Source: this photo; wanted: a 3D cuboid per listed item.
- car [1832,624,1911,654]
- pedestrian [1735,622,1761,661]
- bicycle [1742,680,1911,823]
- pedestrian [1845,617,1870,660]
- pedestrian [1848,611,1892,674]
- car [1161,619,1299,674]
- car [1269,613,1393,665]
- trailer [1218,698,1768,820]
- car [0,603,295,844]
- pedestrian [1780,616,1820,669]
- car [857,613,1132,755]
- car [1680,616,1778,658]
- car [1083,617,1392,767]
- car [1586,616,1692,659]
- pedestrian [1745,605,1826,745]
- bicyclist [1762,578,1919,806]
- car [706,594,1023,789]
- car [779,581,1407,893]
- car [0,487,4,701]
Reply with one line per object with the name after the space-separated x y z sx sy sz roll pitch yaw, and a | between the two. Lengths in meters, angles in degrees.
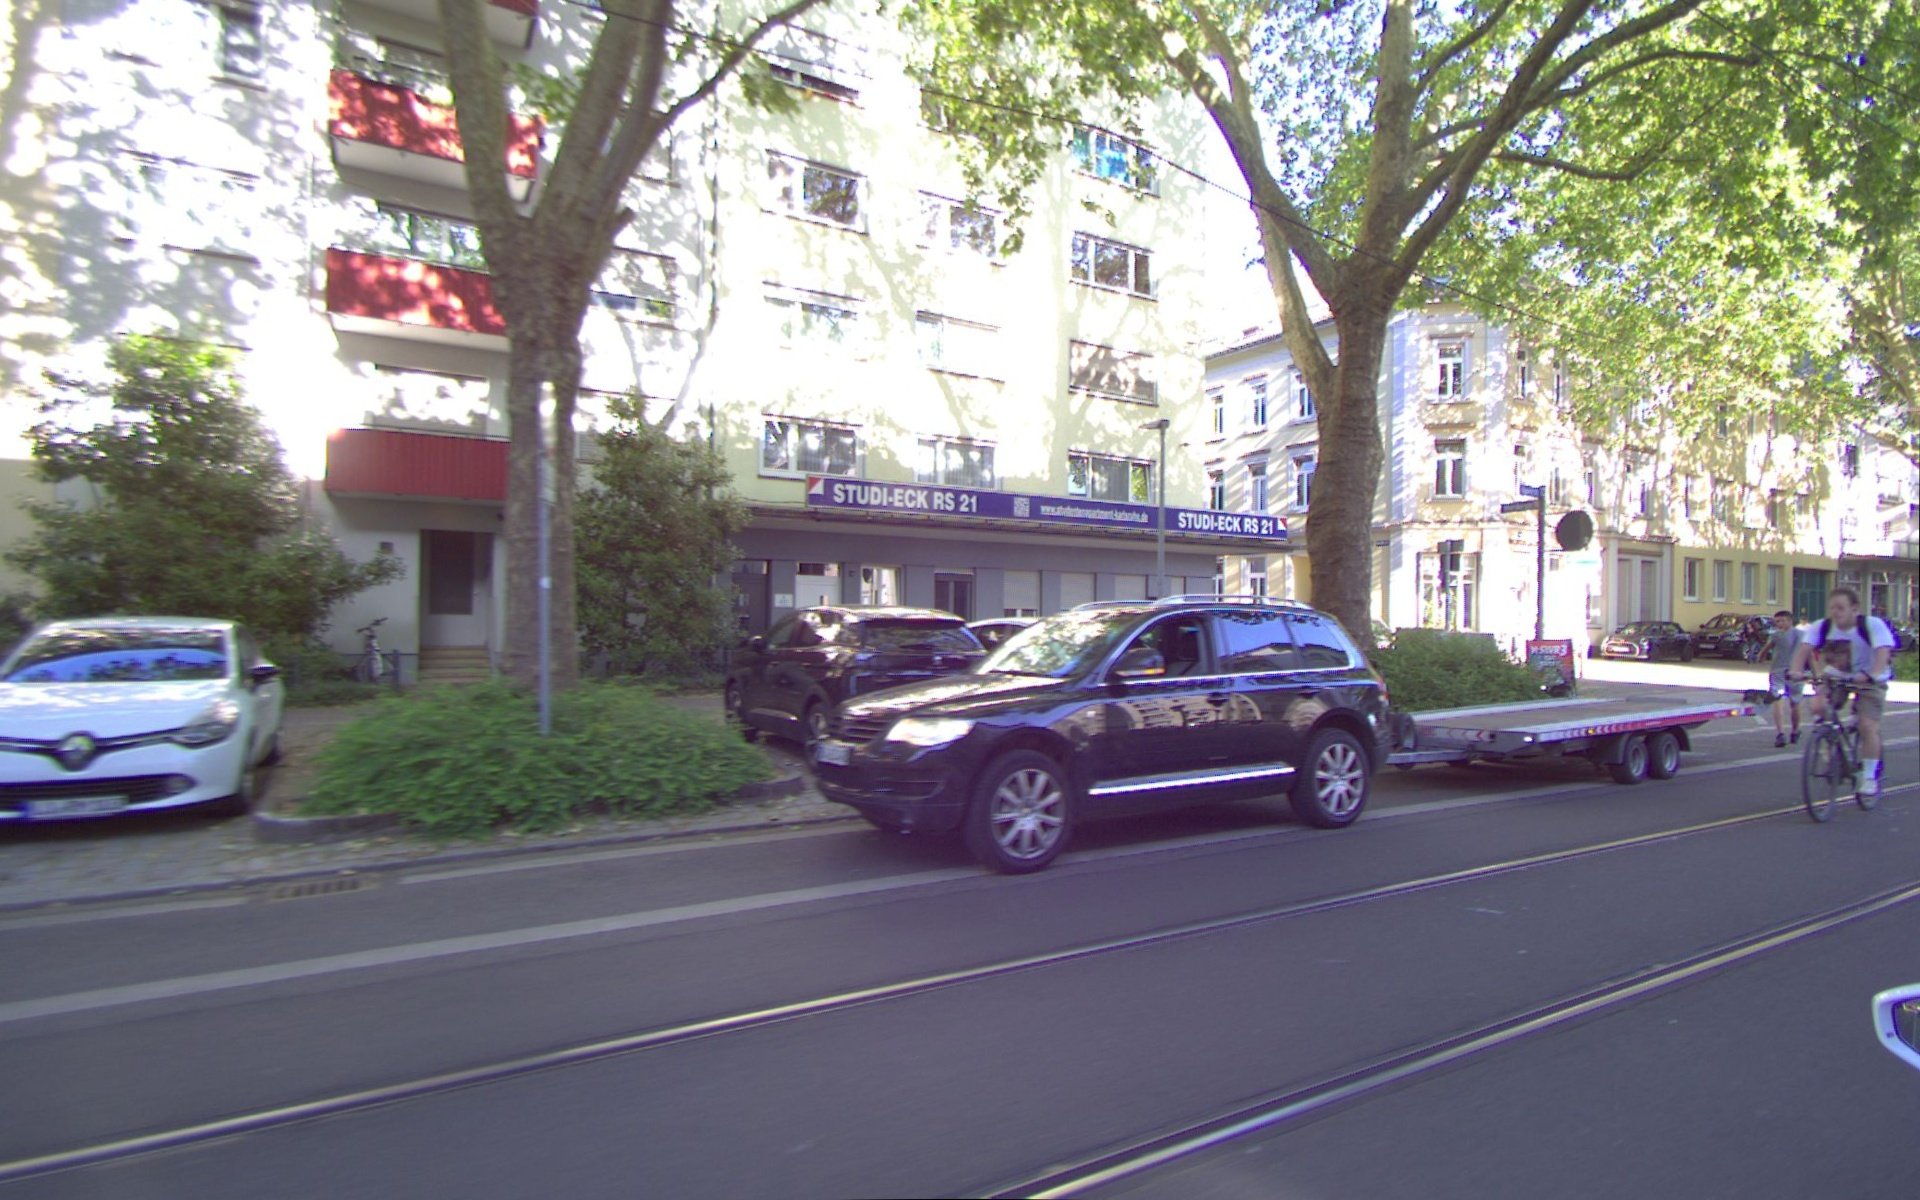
42.025 1.780 46.292 3.783 1.293 1.687 1 -1 -31 | car
29.110 1.515 37.116 0.641 1.421 0.550 1 -1 -27 | pedestrian
7.091 1.183 8.188 1.907 0.975 0.517 1 -1 -32 | bicycle
34.967 1.488 39.130 0.641 1.674 0.550 1 -1 -27 | pedestrian
28.279 1.305 31.223 0.638 1.894 0.899 1 -1 -36 | pedestrian
8.294 1.389 31.133 1.802 1.555 3.963 1 -1 -33 | car
12.819 1.302 34.879 1.975 1.606 3.631 -2 1 -29 | car
5.689 1.478 10.329 6.329 0.640 2.150 1 -3 -32 | trailer
-6.603 0.784 8.115 1.839 1.498 3.835 1 -1 -31 | car
27.045 1.361 32.344 0.638 1.654 0.840 1 -1 -36 | pedestrian
0.284 0.962 13.250 1.751 1.542 3.966 1 -1 -31 | car
30.426 1.446 39.732 3.953 1.537 1.674 1 0 -30 | car
3.311 1.008 12.502 1.768 1.551 3.411 1 -1 -33 | car
24.902 1.353 36.826 3.953 1.483 1.674 1 -1 -30 | car
10.836 0.962 13.181 0.907 1.758 0.704 1 -2 -45 | pedestrian
7.119 0.697 8.073 0.946 1.700 0.780 1 -1 -31 | bicyclist
-1.221 0.806 10.821 1.872 1.669 3.966 1 -1 -31 | car
1.085 0.825 7.562 4.432 1.722 1.984 1 -2 -31 | car
-8.541 0.220 6.870 2.061 2.601 4.912 1 -1 -34 | car
